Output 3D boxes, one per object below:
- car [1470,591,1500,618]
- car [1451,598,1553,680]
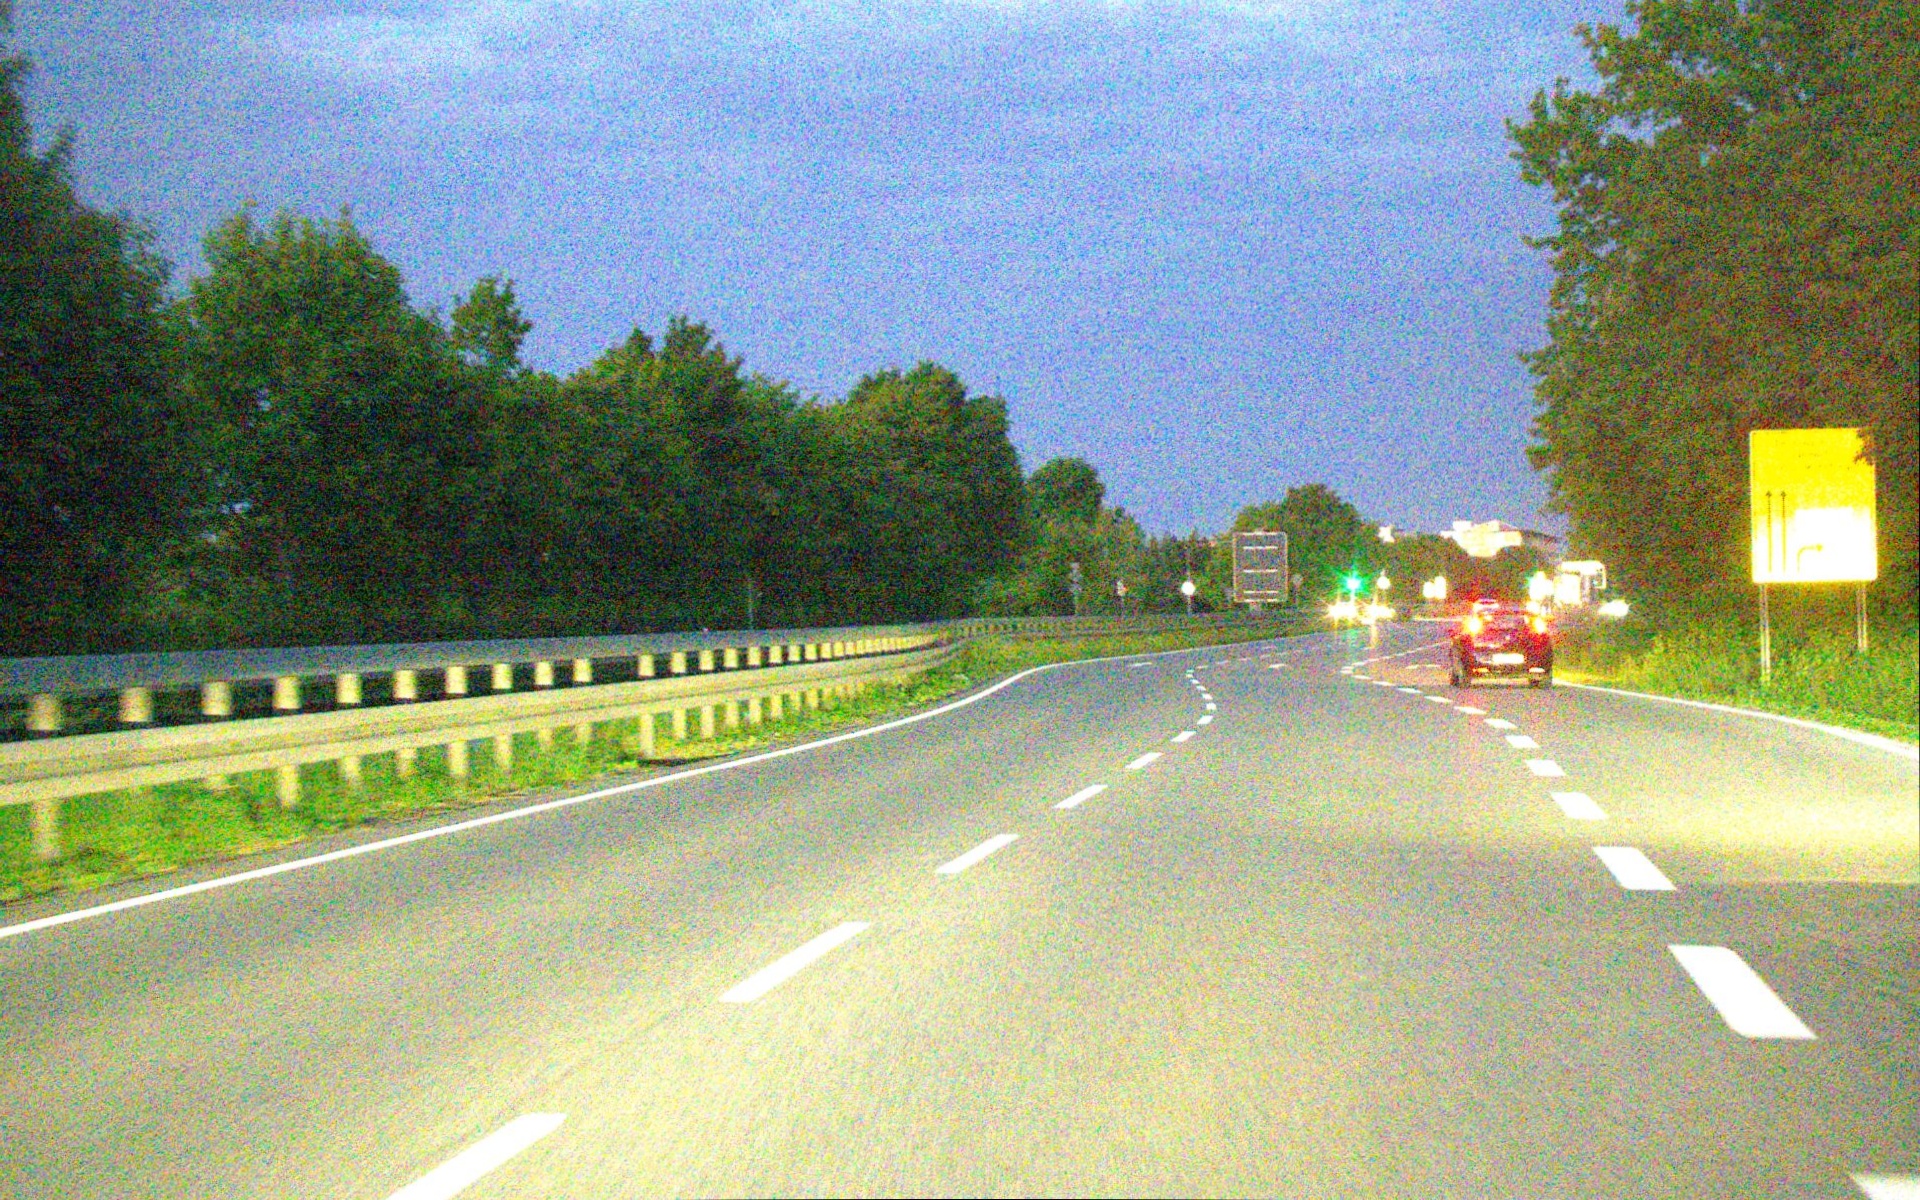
[{"bbox_3d":[37.795,0.356,247.559,1.994,1.744,3.998,-4,-2,9],"label":"car"},{"bbox_3d":[9.938,0.707,63.234,1.753,1.448,4.431,0,0,8],"label":"car"}]
